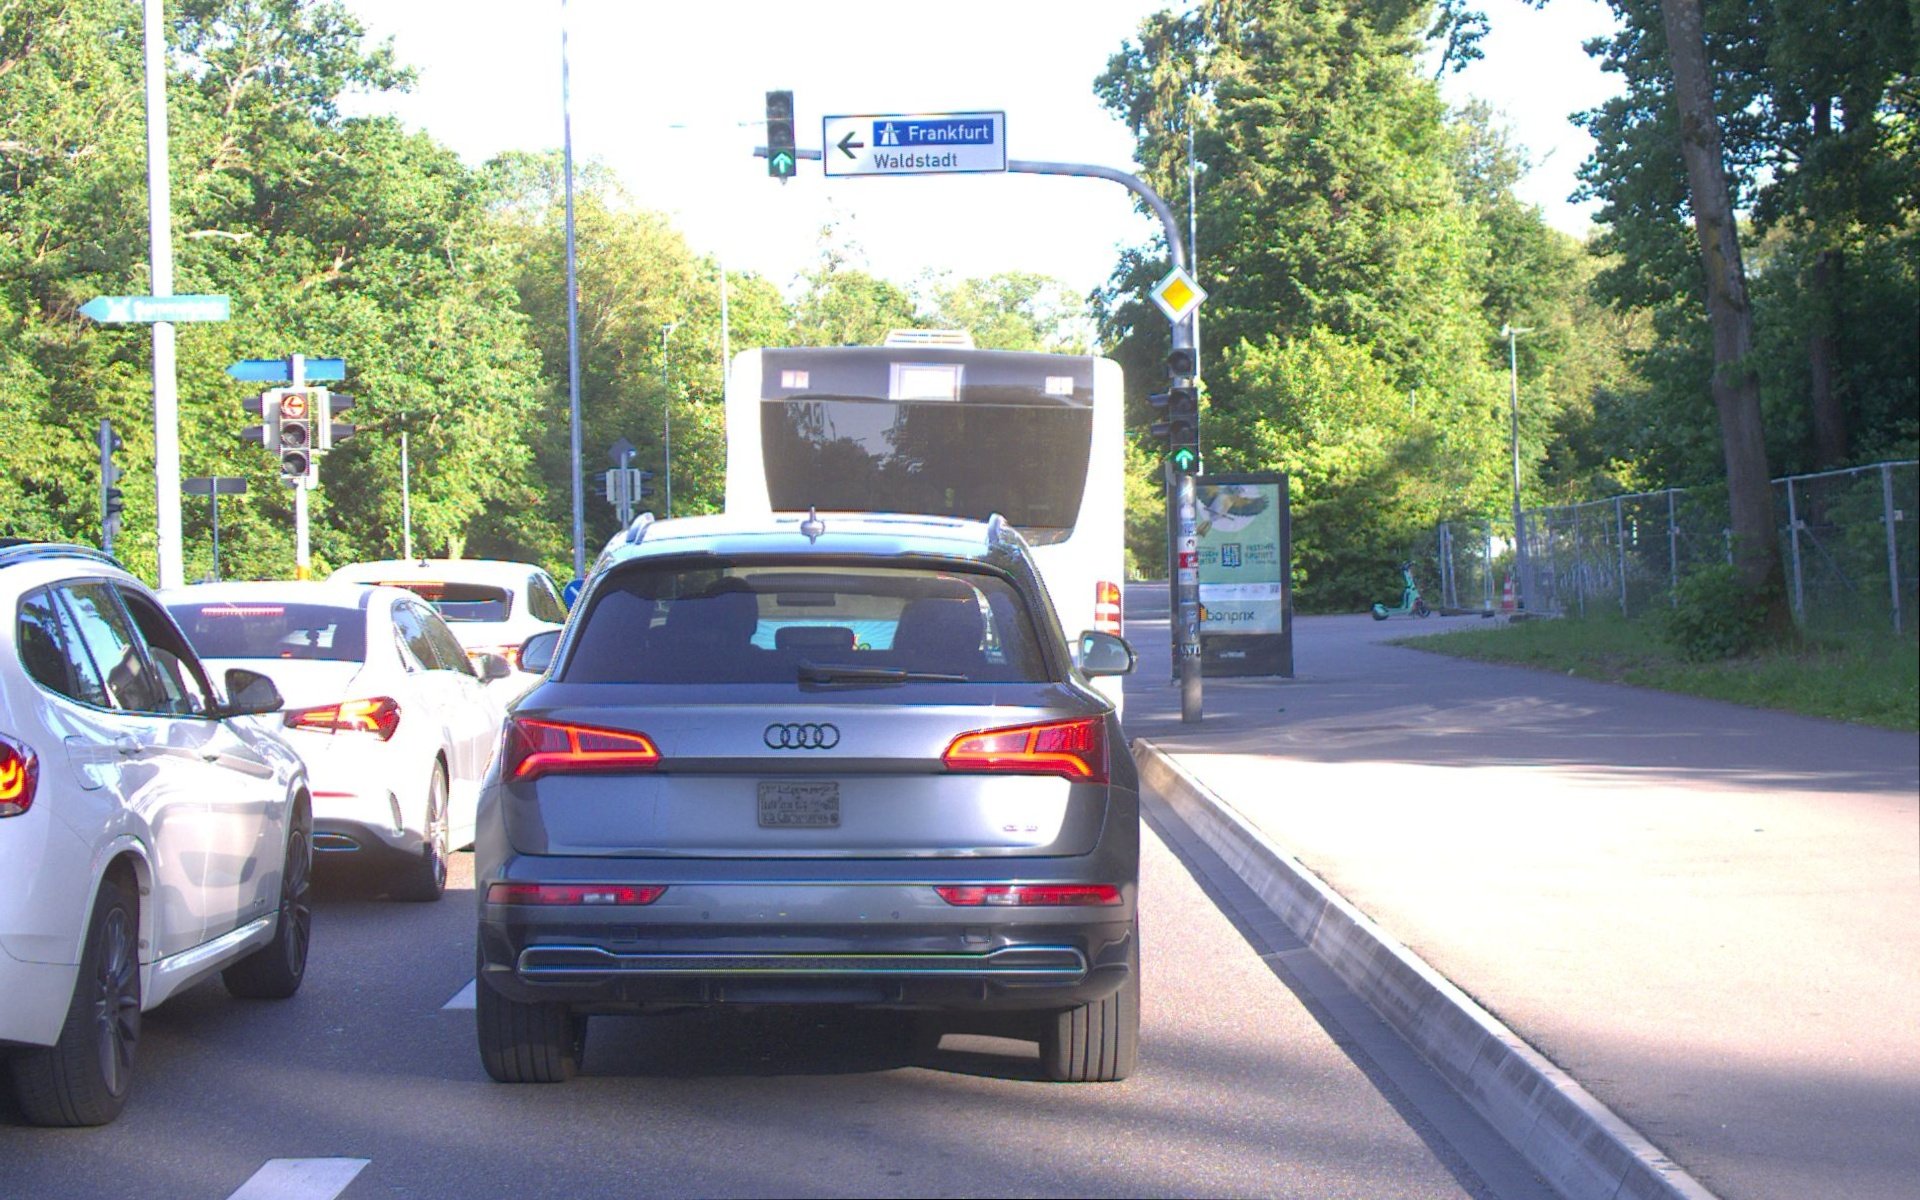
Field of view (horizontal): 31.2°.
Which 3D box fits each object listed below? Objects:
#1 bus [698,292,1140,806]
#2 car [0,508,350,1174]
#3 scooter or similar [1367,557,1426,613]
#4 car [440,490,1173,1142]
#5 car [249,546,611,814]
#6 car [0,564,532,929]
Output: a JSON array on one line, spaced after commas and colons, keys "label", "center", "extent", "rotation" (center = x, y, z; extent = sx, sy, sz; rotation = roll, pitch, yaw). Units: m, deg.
[{"label": "bus", "center": [-0.226, -0.381, 24.158], "extent": [2.678, 3.131, 5.882], "rotation": [1, 1, 1]}, {"label": "car", "center": [-3.075, 0.560, 10.346], "extent": [1.718, 1.575, 4.434], "rotation": [1, 0, -1]}, {"label": "scooter or similar", "center": [9.281, -0.320, 73.011], "extent": [1.184, 1.170, 0.659], "rotation": [1, 1, 11]}, {"label": "car", "center": [-0.424, 0.516, 10.886], "extent": [1.868, 1.658, 4.000], "rotation": [1, 1, -1]}, {"label": "car", "center": [-3.409, 0.451, 22.792], "extent": [1.808, 1.567, 4.000], "rotation": [1, 1, -1]}, {"label": "car", "center": [-3.180, 0.588, 16.427], "extent": [1.785, 1.439, 4.278], "rotation": [1, 1, -1]}]
